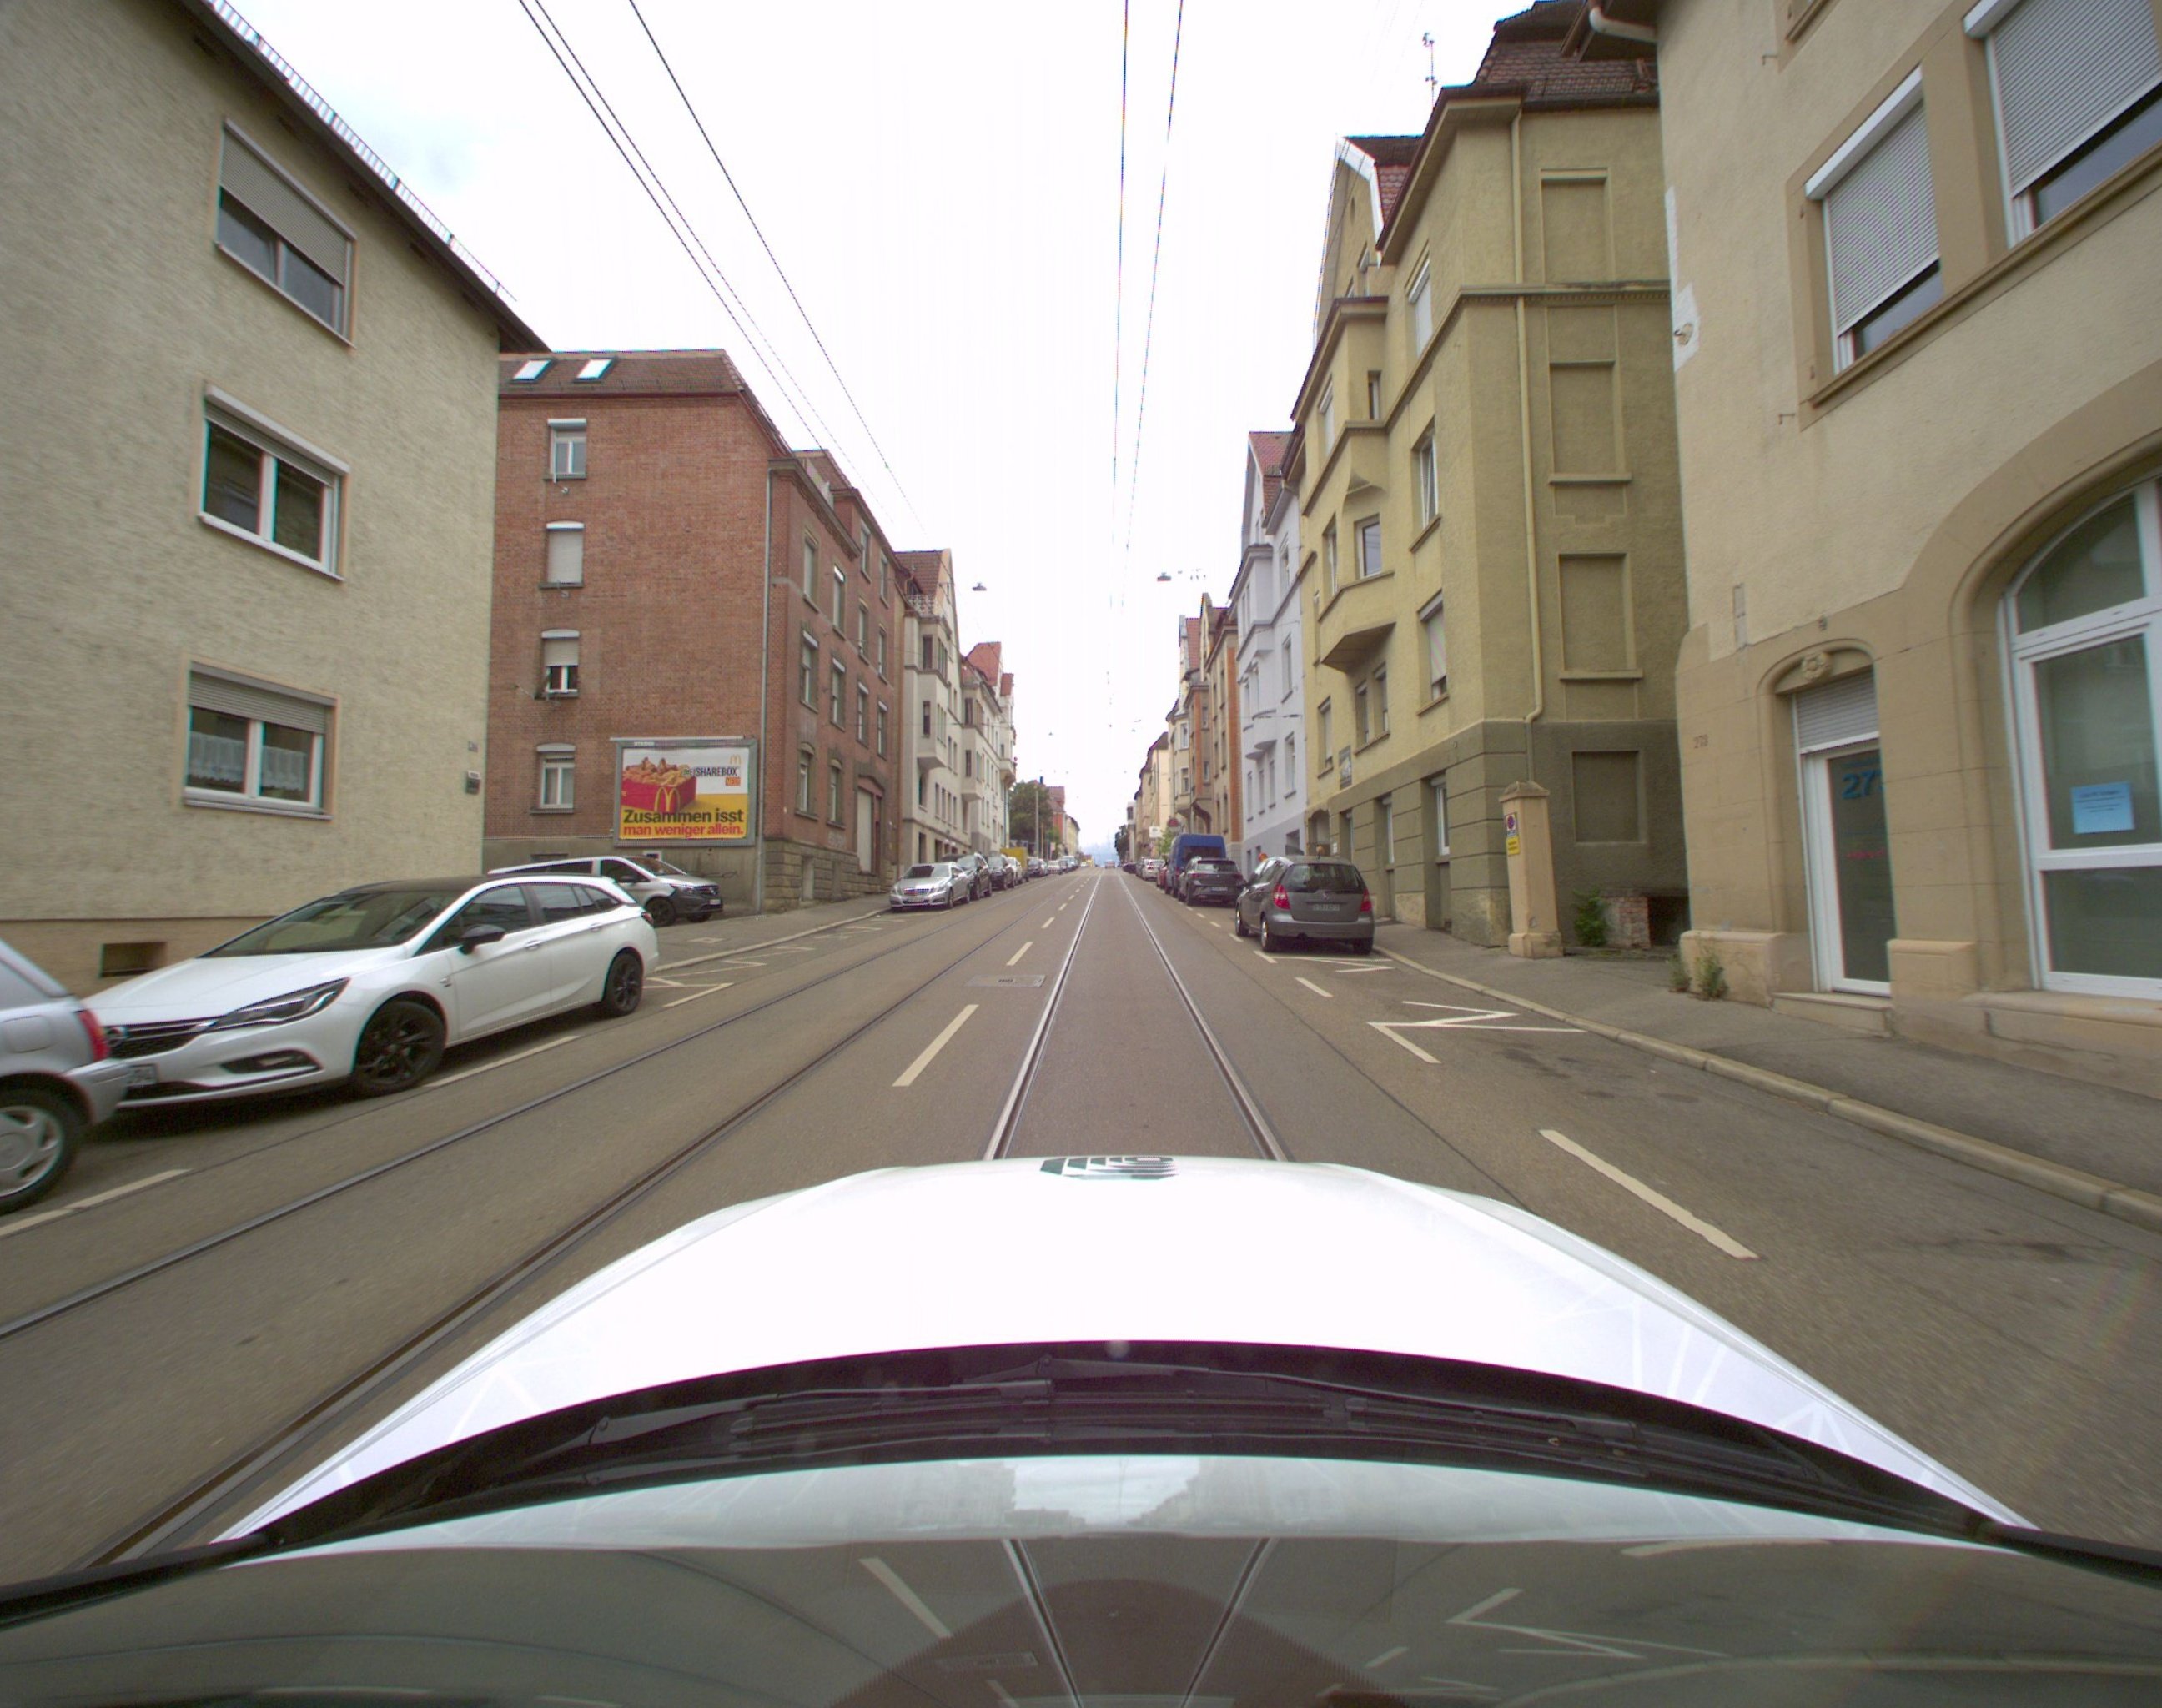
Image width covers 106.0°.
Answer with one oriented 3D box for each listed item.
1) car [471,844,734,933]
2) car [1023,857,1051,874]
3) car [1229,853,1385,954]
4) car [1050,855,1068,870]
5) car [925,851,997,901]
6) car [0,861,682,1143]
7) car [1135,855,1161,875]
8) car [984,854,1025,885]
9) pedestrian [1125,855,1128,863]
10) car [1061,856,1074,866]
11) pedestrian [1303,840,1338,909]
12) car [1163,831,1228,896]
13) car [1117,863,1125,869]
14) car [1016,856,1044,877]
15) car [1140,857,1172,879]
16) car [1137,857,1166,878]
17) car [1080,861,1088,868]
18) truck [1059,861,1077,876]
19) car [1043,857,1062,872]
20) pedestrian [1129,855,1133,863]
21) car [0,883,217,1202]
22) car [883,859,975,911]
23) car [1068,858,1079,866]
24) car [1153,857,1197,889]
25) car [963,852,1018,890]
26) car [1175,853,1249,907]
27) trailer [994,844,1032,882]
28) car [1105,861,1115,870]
[{"bbox_3d":[-11.538,0.804,19.947,5.161,1.818,1.939,-3,0,-3],"label":"car"},{"bbox_3d":[-3.585,0.943,67.030,1.772,1.357,4.295,0,0,3],"label":"car"},{"bbox_3d":[3.891,0.771,14.736,1.820,1.519,4.030,2,0,2],"label":"car"},{"bbox_3d":[-2.738,1.086,100.879,1.736,1.736,4.523,-2,-1,3],"label":"car"},{"bbox_3d":[-4.575,0.774,31.722,1.820,1.718,4.916,-3,0,2],"label":"car"},{"bbox_3d":[-5.470,0.861,6.905,1.822,1.429,4.626,-4,0,0],"label":"car"},{"bbox_3d":[5.359,0.862,65.640,1.729,1.537,4.573,2,0,0],"label":"car"},{"bbox_3d":[-4.279,0.811,46.082,1.690,1.594,4.271,-3,0,2],"label":"car"},{"bbox_3d":[9.735,1.021,174.381,0.787,1.667,0.799,0,-1,4],"label":"pedestrian"},{"bbox_3d":[-1.968,0.997,119.177,1.691,1.433,4.481,-2,0,0],"label":"car"},{"bbox_3d":[6.056,0.521,20.580,0.540,1.682,0.515,-5,-3,-7],"label":"pedestrian"},{"bbox_3d":[4.414,0.373,32.160,1.986,2.376,5.058,0,-1,2],"label":"car"},{"bbox_3d":[10.398,3.065,211.995,1.986,1.563,4.292,0,0,2],"label":"car"},{"bbox_3d":[-3.837,0.910,61.722,1.690,1.468,3.025,-3,-1,2],"label":"car"},{"bbox_3d":[4.954,0.906,54.009,1.744,1.390,4.308,2,0,1],"label":"car"},{"bbox_3d":[5.231,0.985,60.810,1.773,1.390,4.692,2,0,1],"label":"car"},{"bbox_3d":[0.794,2.598,194.036,1.848,1.607,4.298,0,0,2],"label":"car"},{"bbox_3d":[-1.960,2.150,125.927,2.271,2.188,8.030,0,0,3],"label":"truck"},{"bbox_3d":[-3.129,1.137,89.593,1.689,1.556,3.853,0,0,3],"label":"car"},{"bbox_3d":[10.692,1.014,174.436,0.787,1.667,0.799,0,-1,4],"label":"pedestrian"},{"bbox_3d":[-5.625,0.902,2.548,1.594,1.368,3.810,-4,0,3],"label":"car"},{"bbox_3d":[-4.774,0.923,26.311,1.820,1.429,4.842,-3,0,2],"label":"car"},{"bbox_3d":[-1.227,1.383,140.947,1.705,1.446,4.292,0,0,2],"label":"car"},{"bbox_3d":[4.663,0.909,40.919,1.773,1.475,4.591,2,0,2],"label":"car"},{"bbox_3d":[-4.363,0.795,39.823,1.866,1.664,4.894,-3,0,2],"label":"car"},{"bbox_3d":[4.234,0.807,26.861,1.773,1.530,4.193,3,0,1],"label":"car"},{"bbox_3d":[-4.136,0.537,50.227,1.741,2.155,4.073,-3,0,2],"label":"trailer"},{"bbox_3d":[5.284,2.066,148.146,1.666,1.513,3.797,-1,0,1],"label":"car"}]
